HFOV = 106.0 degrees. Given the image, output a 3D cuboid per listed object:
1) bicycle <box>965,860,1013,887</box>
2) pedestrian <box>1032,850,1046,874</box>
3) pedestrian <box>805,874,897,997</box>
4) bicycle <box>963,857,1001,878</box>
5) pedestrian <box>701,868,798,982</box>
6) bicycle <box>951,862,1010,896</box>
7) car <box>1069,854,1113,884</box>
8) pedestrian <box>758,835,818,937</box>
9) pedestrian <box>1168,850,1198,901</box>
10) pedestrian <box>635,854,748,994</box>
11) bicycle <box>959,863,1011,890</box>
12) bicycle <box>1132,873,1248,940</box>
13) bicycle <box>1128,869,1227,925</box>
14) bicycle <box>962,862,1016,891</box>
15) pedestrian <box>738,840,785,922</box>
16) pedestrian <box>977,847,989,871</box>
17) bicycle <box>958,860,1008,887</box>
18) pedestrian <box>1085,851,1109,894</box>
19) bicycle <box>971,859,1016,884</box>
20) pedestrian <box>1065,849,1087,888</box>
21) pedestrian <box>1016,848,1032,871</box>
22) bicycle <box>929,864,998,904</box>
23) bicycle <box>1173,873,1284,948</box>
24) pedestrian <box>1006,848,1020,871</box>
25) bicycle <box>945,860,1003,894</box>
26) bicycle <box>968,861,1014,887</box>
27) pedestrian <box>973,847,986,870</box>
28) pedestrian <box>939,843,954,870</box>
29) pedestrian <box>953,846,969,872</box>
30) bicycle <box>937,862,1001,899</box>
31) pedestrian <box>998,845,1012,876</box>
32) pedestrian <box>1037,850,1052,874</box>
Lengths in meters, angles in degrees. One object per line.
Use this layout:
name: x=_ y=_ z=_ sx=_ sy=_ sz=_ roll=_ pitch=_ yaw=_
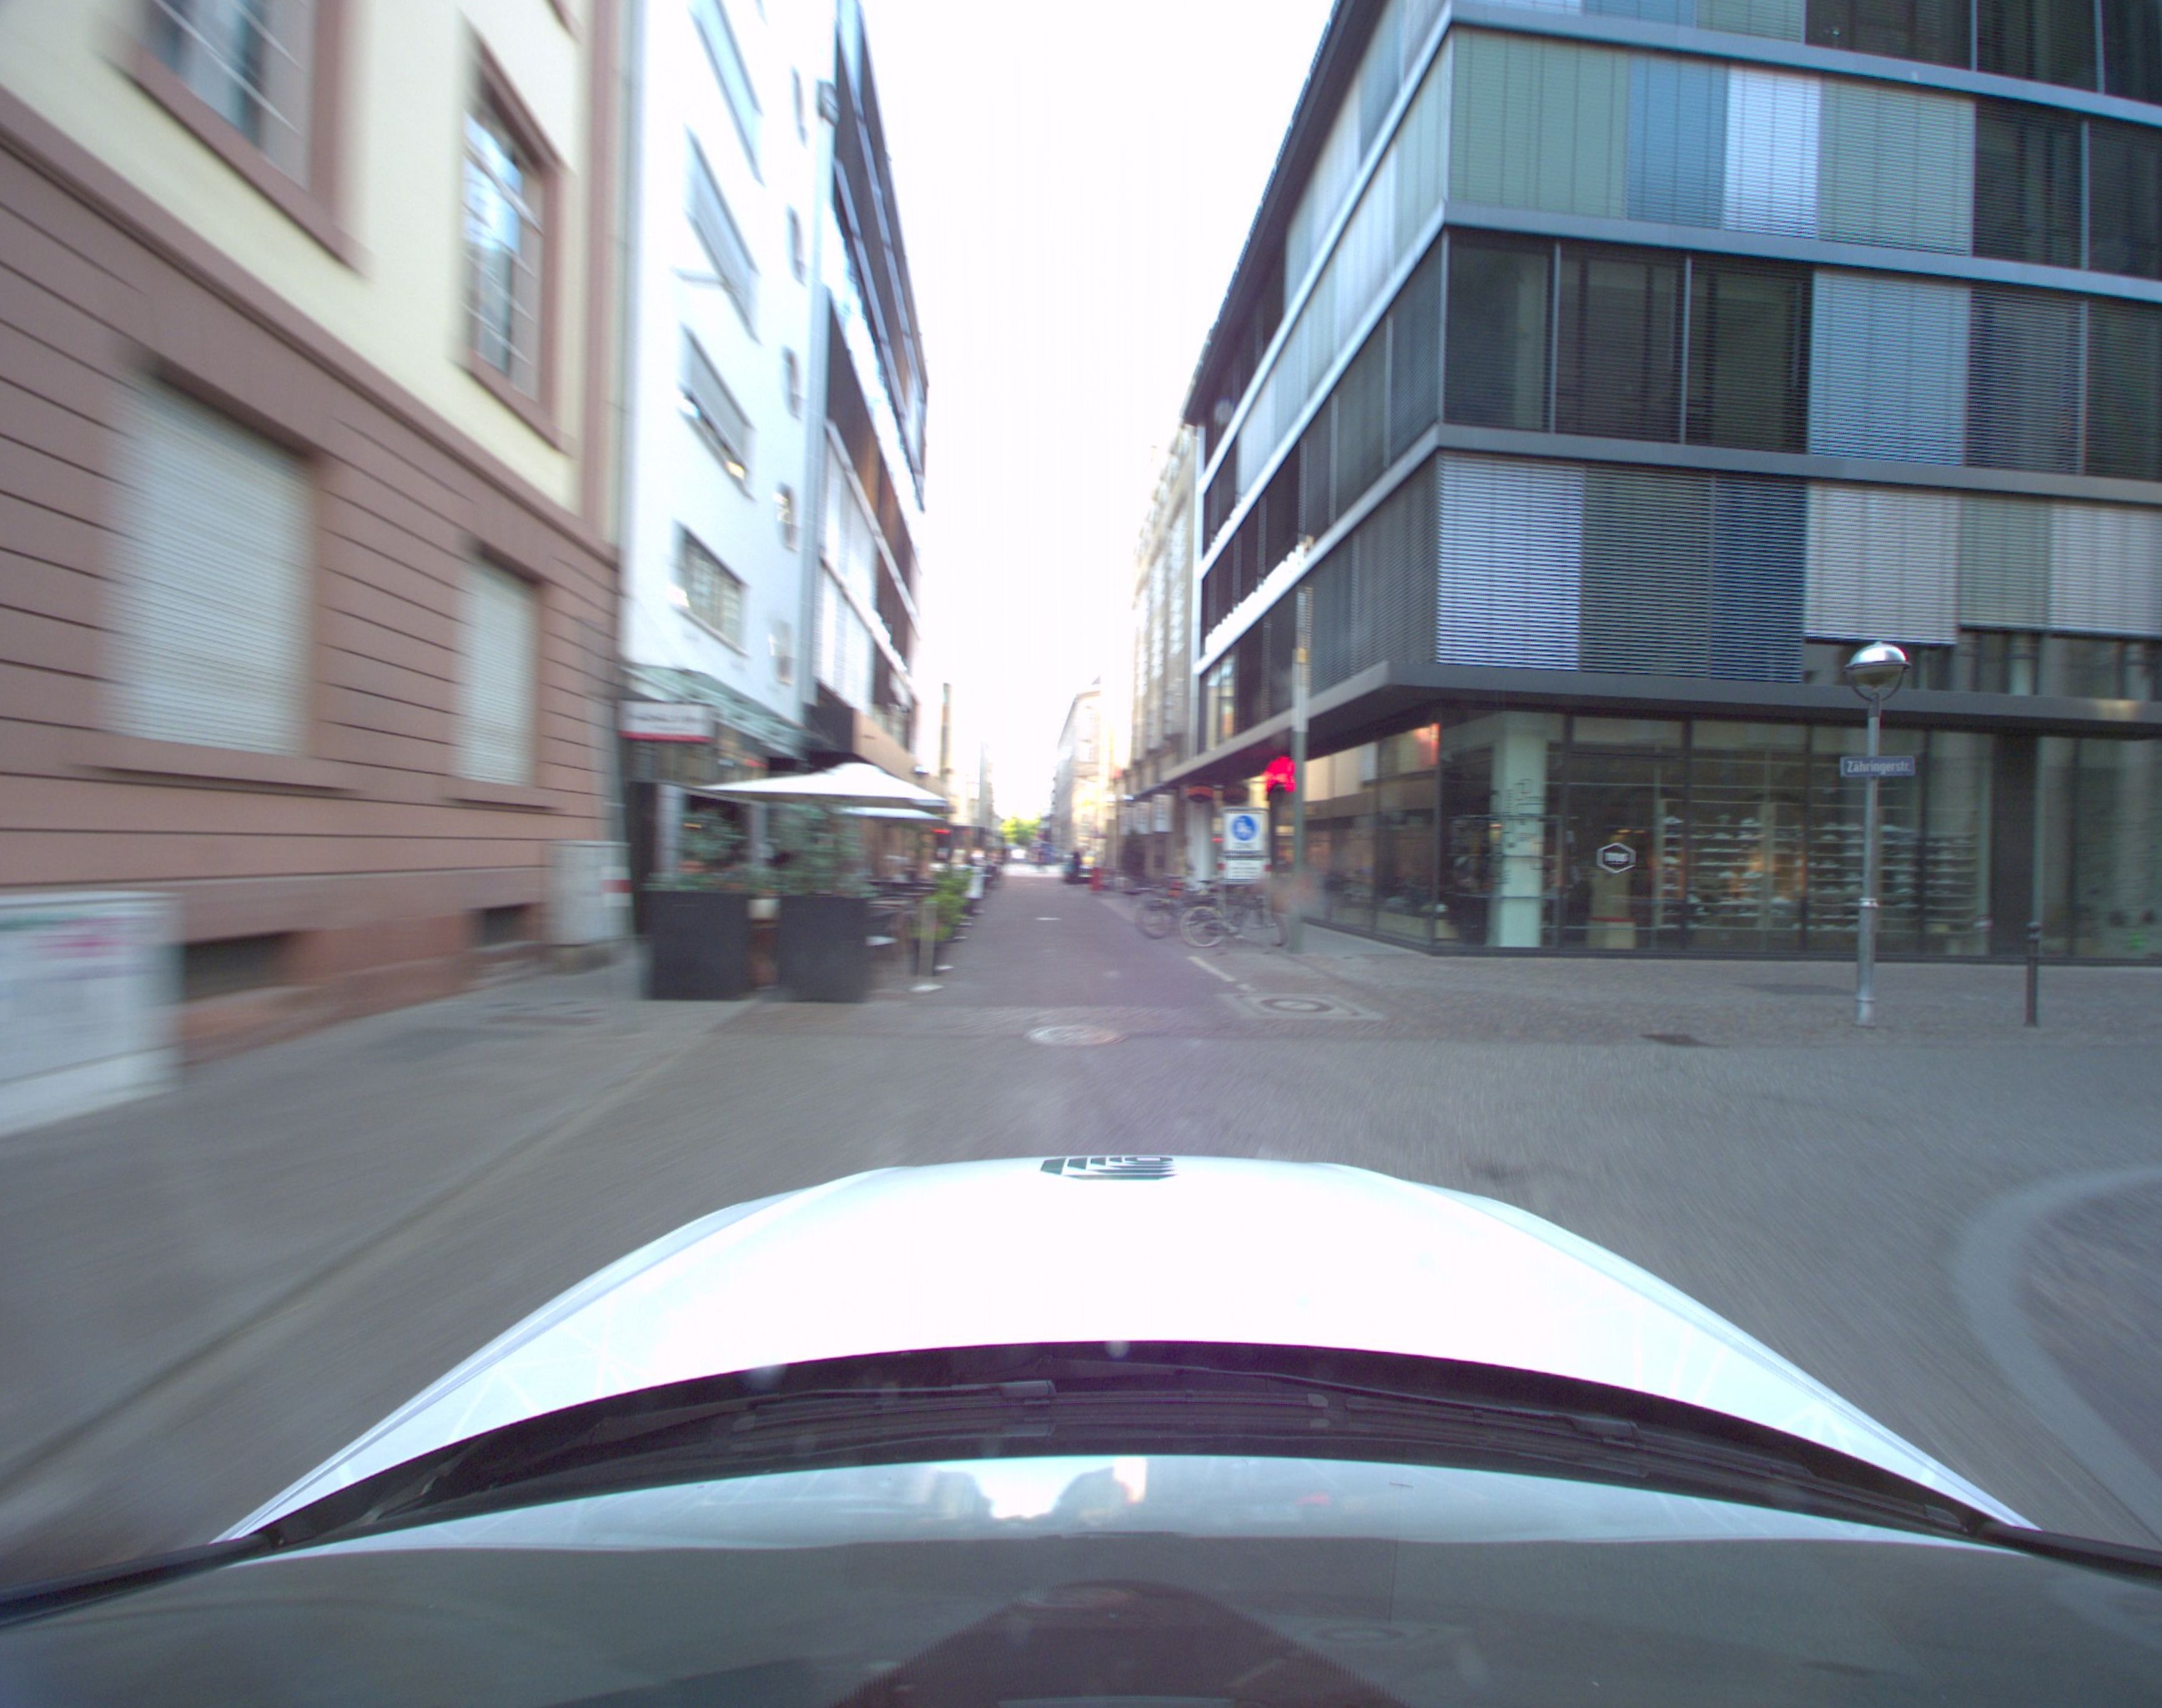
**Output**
bicycle: x=-4.059 y=0.872 z=36.123 sx=2.044 sy=1.050 sz=0.466 roll=3 pitch=0 yaw=-6
pedestrian: x=-2.960 y=0.527 z=56.711 sx=0.903 sy=1.661 sz=0.791 roll=1 pitch=0 yaw=-7
pedestrian: x=-2.341 y=0.819 z=8.375 sx=0.790 sy=1.183 sz=0.671 roll=3 pitch=-1 yaw=-10
bicycle: x=-5.495 y=0.756 z=45.417 sx=2.044 sy=1.013 sz=0.466 roll=3 pitch=0 yaw=-6
pedestrian: x=-3.667 y=0.768 z=9.057 sx=0.789 sy=1.183 sz=0.672 roll=3 pitch=-1 yaw=-6
bicycle: x=-3.448 y=0.852 z=27.967 sx=1.944 sy=1.074 sz=0.466 roll=3 pitch=0 yaw=-6
car: x=0.444 y=0.726 z=41.706 sx=1.752 sy=1.441 sz=3.919 roll=0 pitch=0 yaw=-7
pedestrian: x=-4.890 y=0.518 z=13.631 sx=0.790 sy=1.648 sz=0.723 roll=1 pitch=0 yaw=-10
pedestrian: x=3.200 y=0.658 z=25.549 sx=0.795 sy=1.565 sz=0.858 roll=1 pitch=0 yaw=-2
pedestrian: x=-3.903 y=0.682 z=8.215 sx=0.789 sy=1.331 sz=0.672 roll=3 pitch=-1 yaw=-6
bicycle: x=-3.913 y=0.919 z=33.321 sx=2.044 sy=1.016 sz=0.466 roll=3 pitch=0 yaw=-6
bicycle: x=1.954 y=0.938 z=14.682 sx=2.006 sy=1.121 sz=0.466 roll=-1 pitch=0 yaw=-6
bicycle: x=2.055 y=0.911 z=17.399 sx=2.031 sy=1.121 sz=0.466 roll=-1 pitch=0 yaw=-6
bicycle: x=-3.629 y=0.889 z=32.180 sx=2.044 sy=1.016 sz=0.466 roll=3 pitch=0 yaw=-6
pedestrian: x=-6.656 y=0.548 z=16.981 sx=0.859 sy=1.659 sz=0.794 roll=1 pitch=0 yaw=-21
pedestrian: x=-7.776 y=0.365 z=64.554 sx=0.902 sy=1.859 sz=0.834 roll=1 pitch=0 yaw=-5
bicycle: x=-4.175 y=0.838 z=34.824 sx=2.044 sy=1.050 sz=0.466 roll=3 pitch=0 yaw=-6
pedestrian: x=0.596 y=0.667 z=30.184 sx=0.796 sy=1.565 sz=0.858 roll=1 pitch=0 yaw=-4
bicycle: x=-4.126 y=0.831 z=38.665 sx=2.044 sy=1.095 sz=0.466 roll=3 pitch=0 yaw=-6
pedestrian: x=-0.235 y=0.630 z=35.594 sx=0.897 sy=1.661 sz=0.929 roll=1 pitch=0 yaw=-3
pedestrian: x=-4.442 y=0.429 z=63.203 sx=1.003 sy=1.733 sz=0.983 roll=1 pitch=0 yaw=8
bicycle: x=-3.452 y=0.877 z=24.015 sx=1.944 sy=1.074 sz=0.466 roll=3 pitch=0 yaw=-6
bicycle: x=2.373 y=0.896 z=13.197 sx=1.694 sy=1.136 sz=0.466 roll=-1 pitch=0 yaw=-6
pedestrian: x=-5.266 y=0.426 z=63.382 sx=0.857 sy=1.733 sz=0.936 roll=1 pitch=0 yaw=8
bicycle: x=-3.809 y=0.812 z=29.062 sx=1.944 sy=1.074 sz=0.466 roll=3 pitch=0 yaw=-6
bicycle: x=-4.126 y=0.924 z=37.523 sx=2.044 sy=1.050 sz=0.466 roll=3 pitch=0 yaw=-6
pedestrian: x=-8.148 y=0.364 z=65.390 sx=0.902 sy=1.859 sz=0.834 roll=1 pitch=0 yaw=-5
pedestrian: x=-9.514 y=0.193 z=57.621 sx=0.902 sy=1.859 sz=0.834 roll=1 pitch=0 yaw=-5
pedestrian: x=-8.561 y=0.363 z=58.271 sx=1.023 sy=1.859 sz=0.905 roll=1 pitch=0 yaw=-5
bicycle: x=-3.592 y=0.835 z=26.177 sx=1.944 sy=1.074 sz=0.466 roll=3 pitch=0 yaw=-6
pedestrian: x=-4.598 y=0.368 z=49.315 sx=0.832 sy=1.859 sz=0.905 roll=1 pitch=0 yaw=-6
pedestrian: x=-2.502 y=0.530 z=55.942 sx=0.903 sy=1.661 sz=0.791 roll=1 pitch=0 yaw=-7
